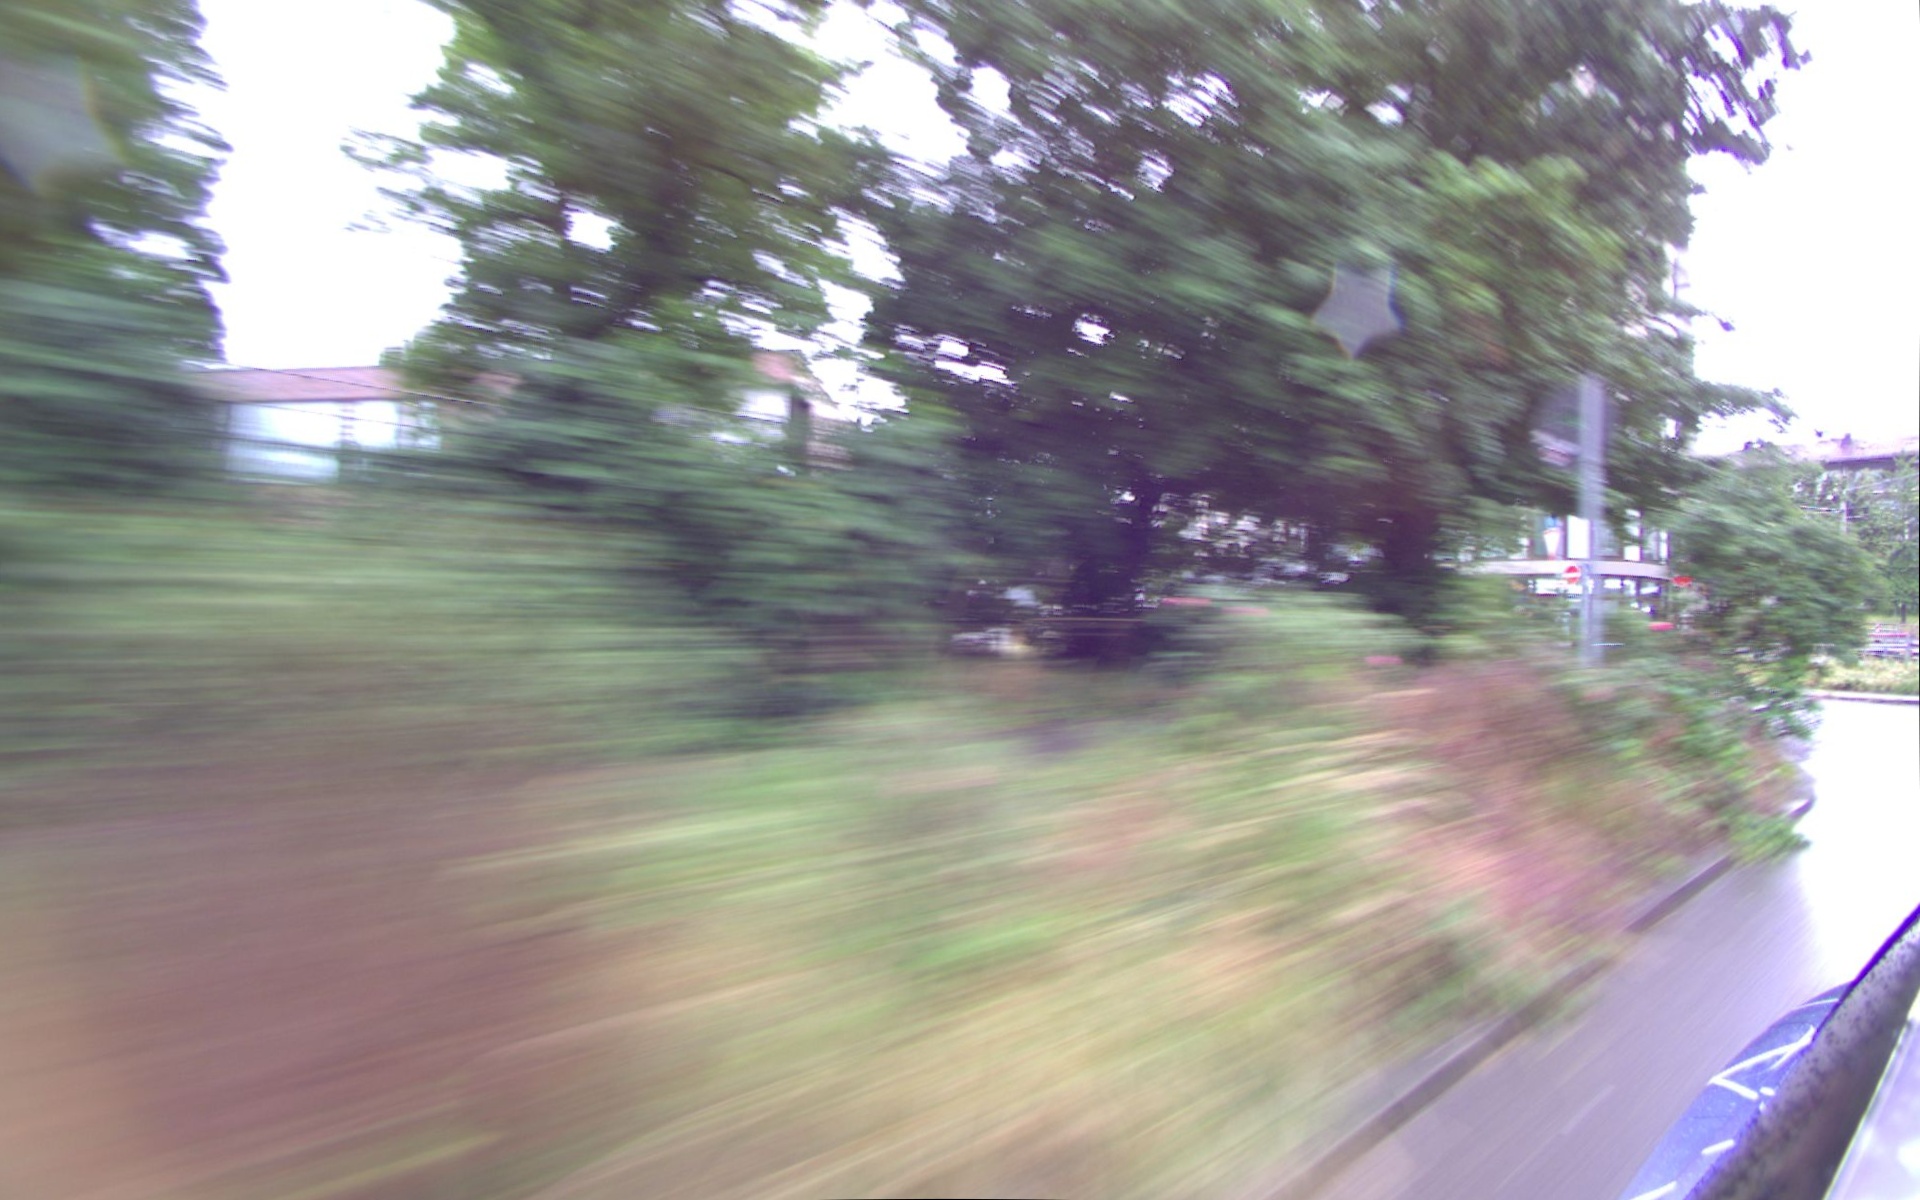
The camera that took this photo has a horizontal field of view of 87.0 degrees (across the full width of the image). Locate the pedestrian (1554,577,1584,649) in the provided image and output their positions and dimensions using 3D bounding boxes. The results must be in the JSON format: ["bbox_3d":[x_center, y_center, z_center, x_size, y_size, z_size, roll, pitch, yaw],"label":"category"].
[{"bbox_3d":[17.808,0.372,29.578,0.653,2.039,0.880,1,0,35],"label":"pedestrian"}]

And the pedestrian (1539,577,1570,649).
[{"bbox_3d":[17.015,0.361,28.976,0.680,2.039,0.776,1,0,36],"label":"pedestrian"}]

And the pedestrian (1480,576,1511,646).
[{"bbox_3d":[15.822,0.310,29.882,0.591,2.039,0.877,0,0,44],"label":"pedestrian"}]

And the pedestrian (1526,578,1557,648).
[{"bbox_3d":[17.290,0.390,30.088,0.591,2.039,0.877,1,0,44],"label":"pedestrian"}]
